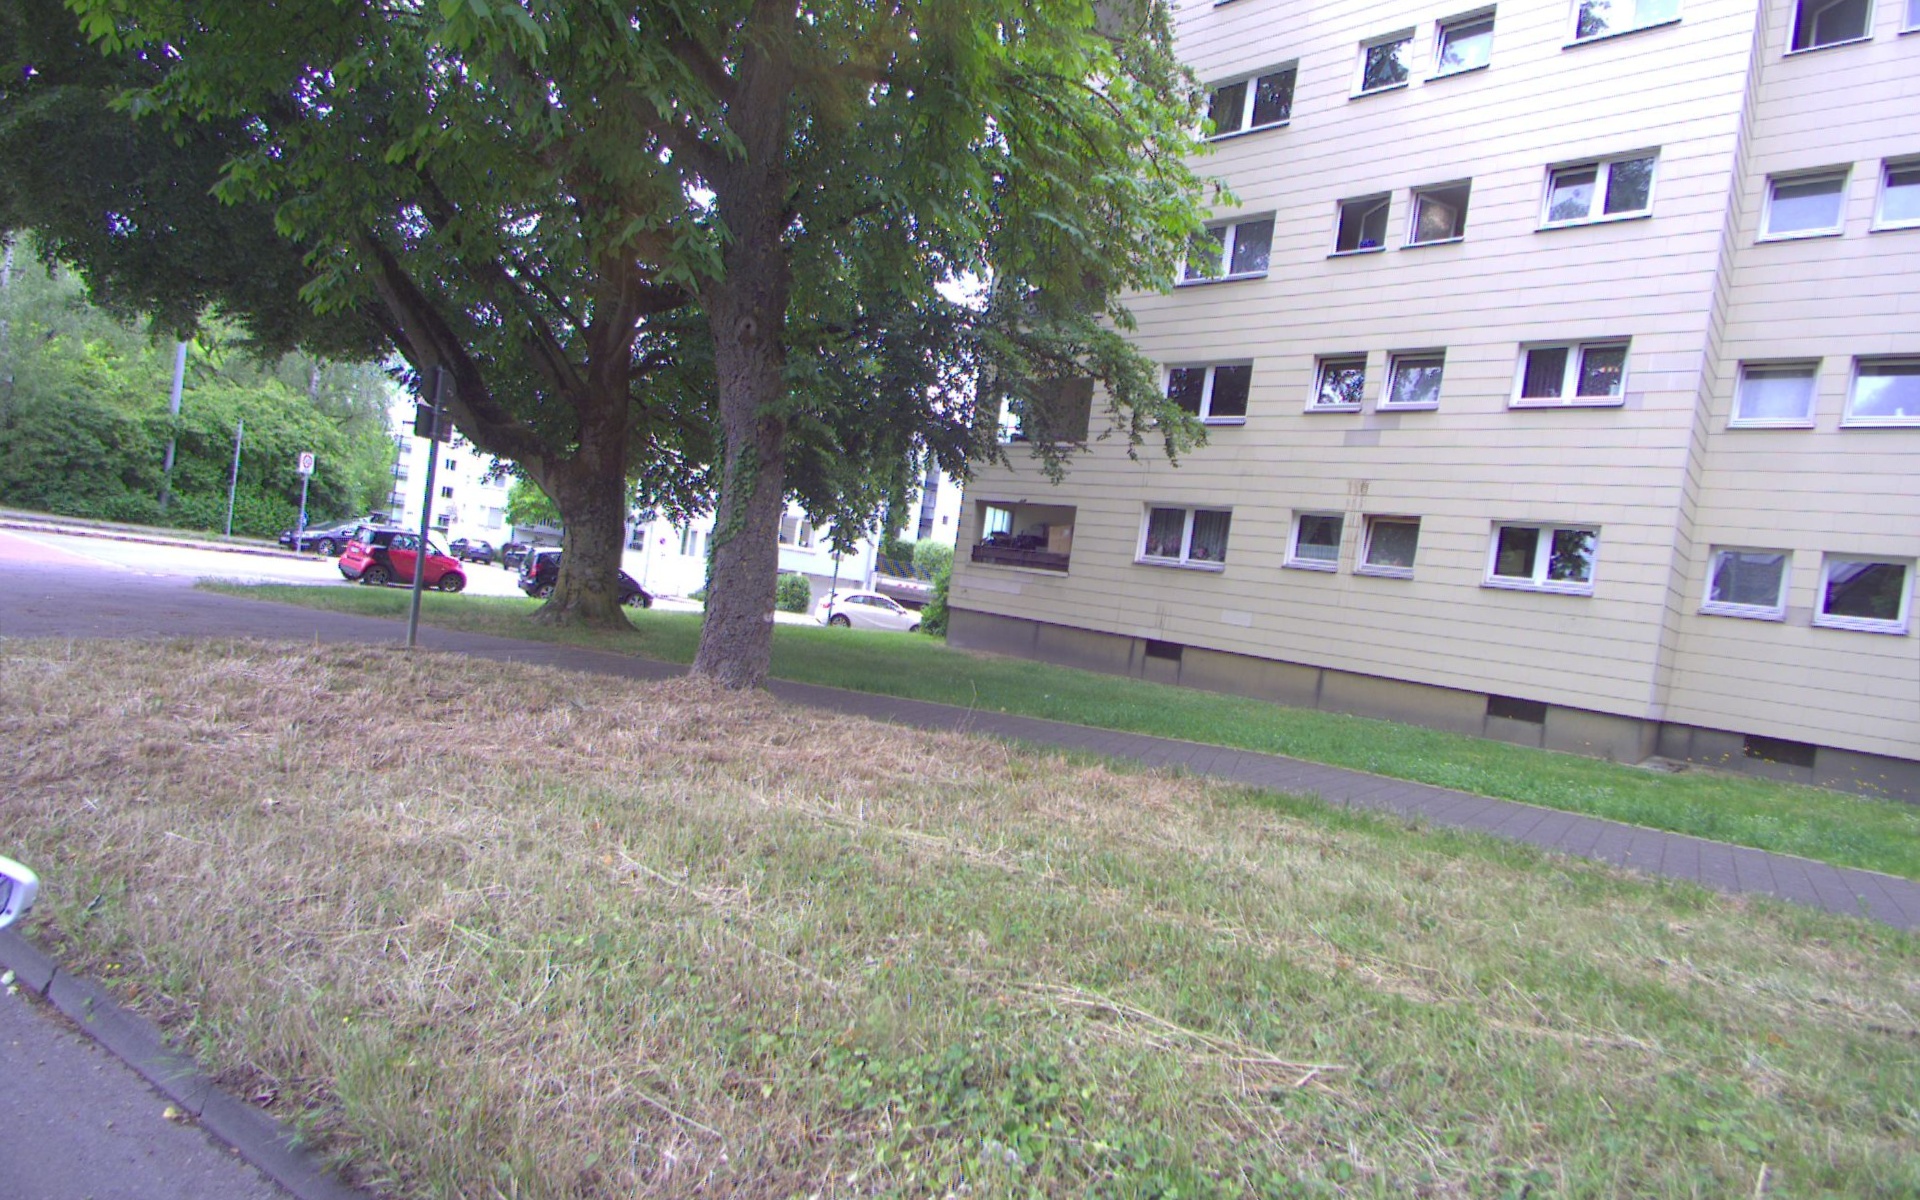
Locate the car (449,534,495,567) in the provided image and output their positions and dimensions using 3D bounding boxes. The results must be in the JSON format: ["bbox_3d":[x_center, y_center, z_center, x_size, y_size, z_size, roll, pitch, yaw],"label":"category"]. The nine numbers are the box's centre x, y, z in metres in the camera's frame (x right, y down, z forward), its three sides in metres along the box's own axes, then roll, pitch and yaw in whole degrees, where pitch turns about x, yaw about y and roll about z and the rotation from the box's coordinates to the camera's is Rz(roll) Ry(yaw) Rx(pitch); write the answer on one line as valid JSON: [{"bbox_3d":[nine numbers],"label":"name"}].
[{"bbox_3d":[-30.121,-3.076,62.022,1.713,1.631,3.813,6,1,-38],"label":"car"}]

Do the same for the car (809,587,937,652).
[{"bbox_3d":[-2.894,0.630,33.308,3.796,1.631,1.721,7,1,-18],"label":"car"}]

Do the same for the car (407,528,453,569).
[{"bbox_3d":[-24.886,-2.445,47.181,1.709,1.631,3.823,6,1,-30],"label":"car"}]

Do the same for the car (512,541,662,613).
[{"bbox_3d":[-11.066,-0.677,29.920,3.814,1.631,1.713,7,1,-33],"label":"car"}]

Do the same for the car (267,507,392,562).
[{"bbox_3d":[-23.410,-2.408,37.429,1.702,1.549,3.515,8,1,38],"label":"car"}]

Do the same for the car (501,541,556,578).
[{"bbox_3d":[-23.196,-2.201,54.069,1.713,1.631,3.813,6,1,-38],"label":"car"}]

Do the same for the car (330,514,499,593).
[{"bbox_3d":[-14.536,-1.210,26.945,1.702,1.631,3.516,8,1,37],"label":"car"}]
